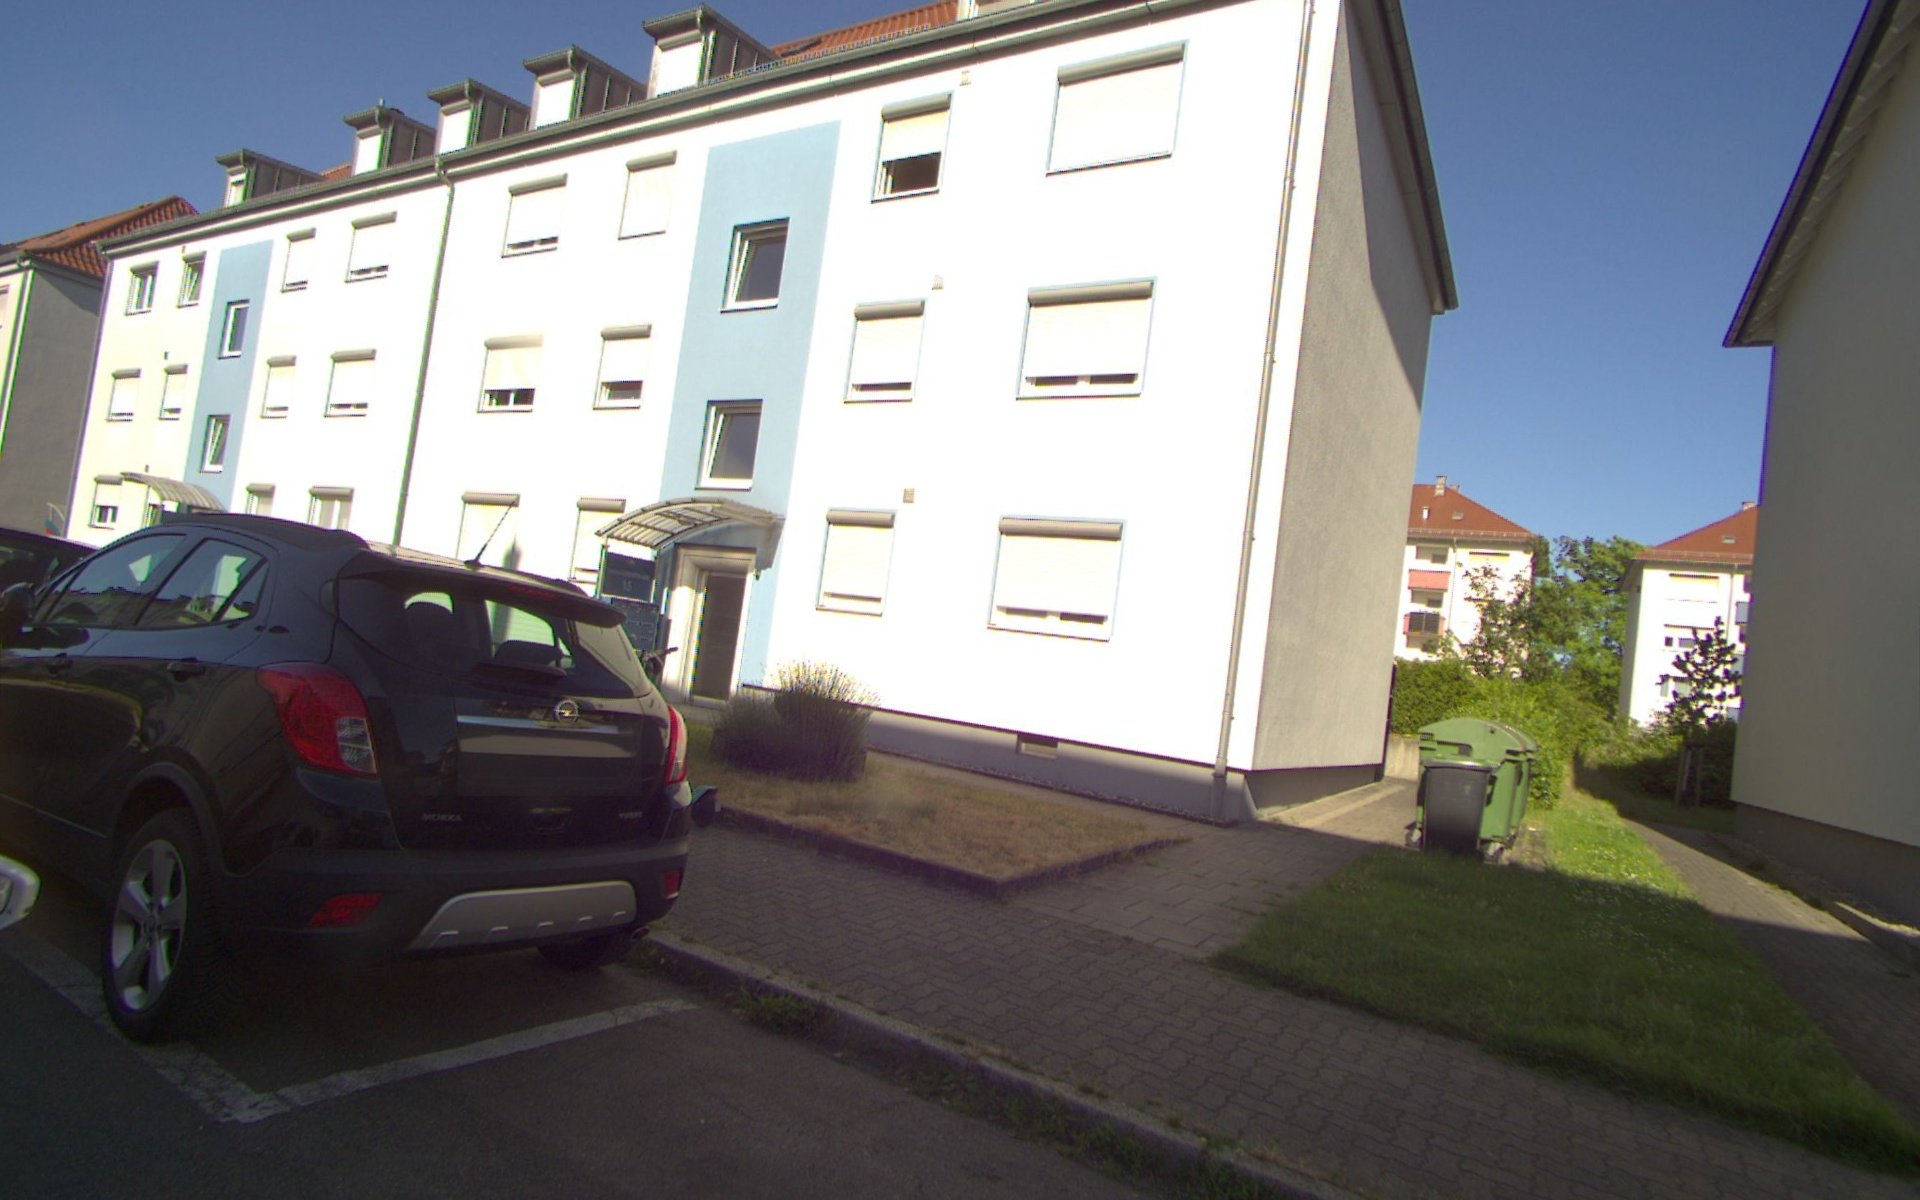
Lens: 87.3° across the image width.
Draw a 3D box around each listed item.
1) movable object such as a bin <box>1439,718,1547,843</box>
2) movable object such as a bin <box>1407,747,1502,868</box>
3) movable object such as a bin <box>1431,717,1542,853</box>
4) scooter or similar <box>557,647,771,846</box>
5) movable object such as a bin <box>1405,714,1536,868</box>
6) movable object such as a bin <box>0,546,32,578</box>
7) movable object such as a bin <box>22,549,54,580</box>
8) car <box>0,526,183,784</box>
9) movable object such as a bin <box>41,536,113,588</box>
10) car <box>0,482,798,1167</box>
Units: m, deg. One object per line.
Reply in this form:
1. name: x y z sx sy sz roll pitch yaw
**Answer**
1. movable object such as a bin: 7.152 2.363 13.463 1.124 1.442 1.345 3 -3 32
2. movable object such as a bin: 4.977 2.056 10.121 0.745 1.046 0.644 3 -3 32
3. movable object such as a bin: 6.417 2.190 12.226 1.038 1.428 1.345 3 -3 32
4. scooter or similar: -2.180 1.015 7.331 1.563 1.163 0.484 6 0 32
5. movable object such as a bin: 5.570 2.010 10.937 1.088 1.422 1.330 3 -3 32
6. movable object such as a bin: -29.861 -1.187 31.786 0.622 0.896 0.524 6 -3 32
7. movable object such as a bin: -29.564 -1.131 32.255 0.622 0.896 0.524 6 -3 32
8. car: -7.372 0.160 7.026 4.088 1.515 1.645 6 -3 33
9. movable object such as a bin: -28.985 -1.237 33.036 1.168 1.431 1.363 6 -3 31
10. car: -3.075 0.527 4.468 4.395 1.665 1.789 6 -5 33
